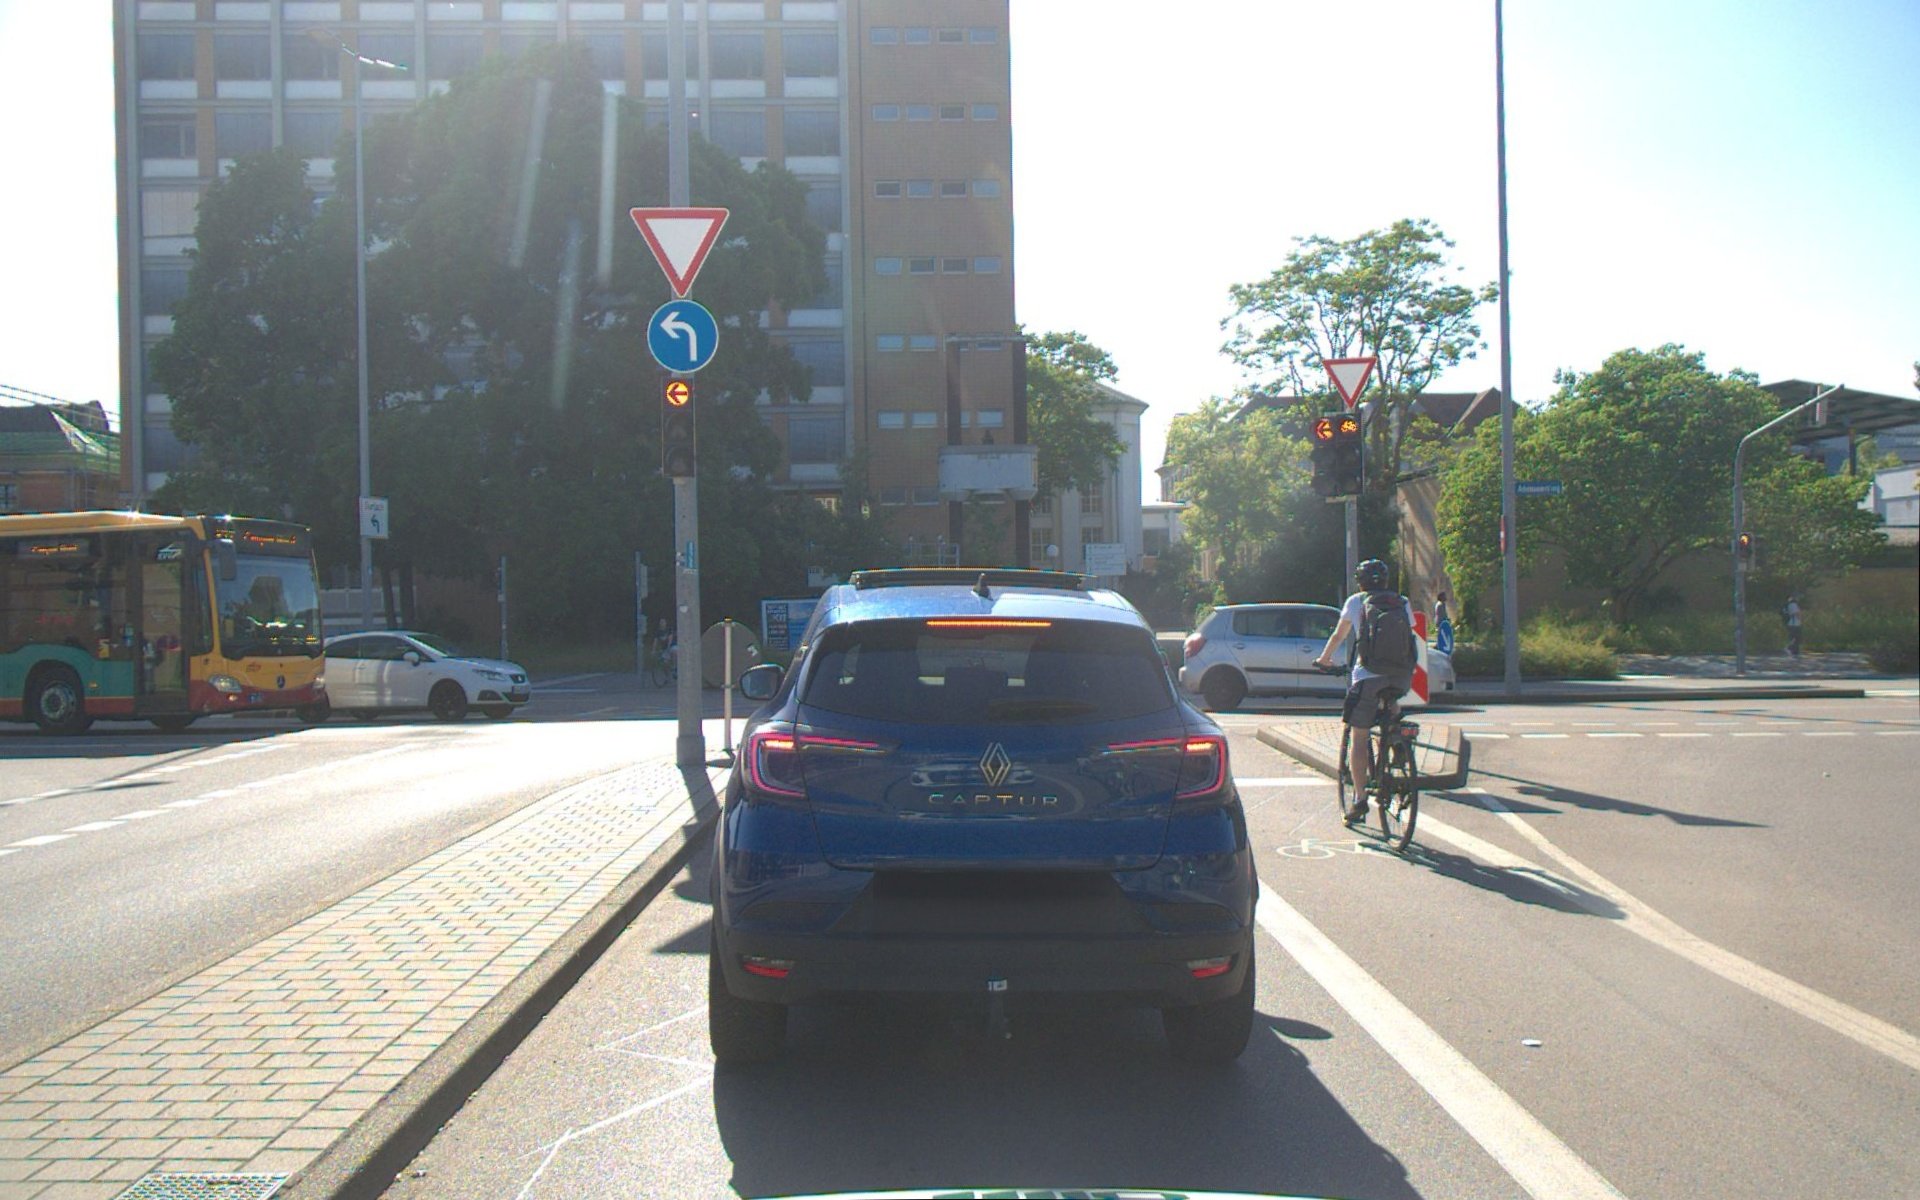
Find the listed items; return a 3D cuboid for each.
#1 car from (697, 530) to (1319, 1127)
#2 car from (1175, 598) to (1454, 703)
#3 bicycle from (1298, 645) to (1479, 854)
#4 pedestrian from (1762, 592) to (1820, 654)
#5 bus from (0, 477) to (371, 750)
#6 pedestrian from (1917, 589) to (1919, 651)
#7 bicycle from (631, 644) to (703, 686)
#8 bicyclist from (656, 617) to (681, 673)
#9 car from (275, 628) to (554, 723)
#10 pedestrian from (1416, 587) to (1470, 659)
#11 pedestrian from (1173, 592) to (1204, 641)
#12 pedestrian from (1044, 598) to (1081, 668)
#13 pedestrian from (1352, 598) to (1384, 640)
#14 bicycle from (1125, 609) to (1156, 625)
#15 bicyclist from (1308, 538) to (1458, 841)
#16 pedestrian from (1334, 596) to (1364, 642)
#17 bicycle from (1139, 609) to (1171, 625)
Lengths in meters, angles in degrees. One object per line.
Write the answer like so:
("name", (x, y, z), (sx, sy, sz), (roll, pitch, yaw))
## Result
("car", (0.087, 0.644, 6.631), (1.758, 1.684, 3.852), (1, 0, -2))
("car", (5.078, 0.729, 23.834), (3.762, 1.428, 1.893), (0, -3, 13))
("bicycle", (2.668, 0.887, 10.484), (0.602, 1.158, 1.825), (0, 0, -2))
("pedestrian", (21.110, 0.574, 42.024), (1.062, 1.547, 0.931), (-1, 0, 9))
("bus", (-15.279, 0.293, 25.192), (12.158, 3.633, 3.252), (-1, 0, 15))
("pedestrian", (24.429, 0.493, 40.853), (1.052, 1.547, 0.879), (-1, 0, 4))
("bicycle", (-7.730, 1.710, 43.658), (1.829, 1.025, 0.698), (-2, -3, -11))
("bicyclist", (-7.697, 1.195, 43.687), (0.625, 1.437, 0.647), (-1, -3, -11))
("car", (-8.748, 1.206, 26.651), (3.901, 1.397, 1.761), (-1, 0, 11))
("pedestrian", (12.967, 0.622, 44.446), (1.269, 1.888, 0.967), (-1, 0, 11))
("pedestrian", (9.899, 0.713, 71.642), (1.132, 2.049, 1.164), (-1, 0, -1))
("pedestrian", (2.837, 0.908, 45.831), (0.912, 1.888, 0.808), (-1, 0, 8))
("pedestrian", (16.057, 0.737, 65.136), (0.917, 1.641, 1.175), (-1, 0, -1))
("bicycle", (10.853, 1.012, 99.352), (1.735, 0.908, 0.765), (-1, 0, -1))
("bicyclist", (2.648, 0.544, 10.434), (0.663, 1.816, 0.939), (1, -1, -2))
("pedestrian", (15.493, 0.748, 65.836), (0.933, 1.772, 0.984), (-1, 0, -1))
("bicycle", (11.200, 0.981, 94.993), (1.735, 0.914, 0.765), (-1, 0, -1))
